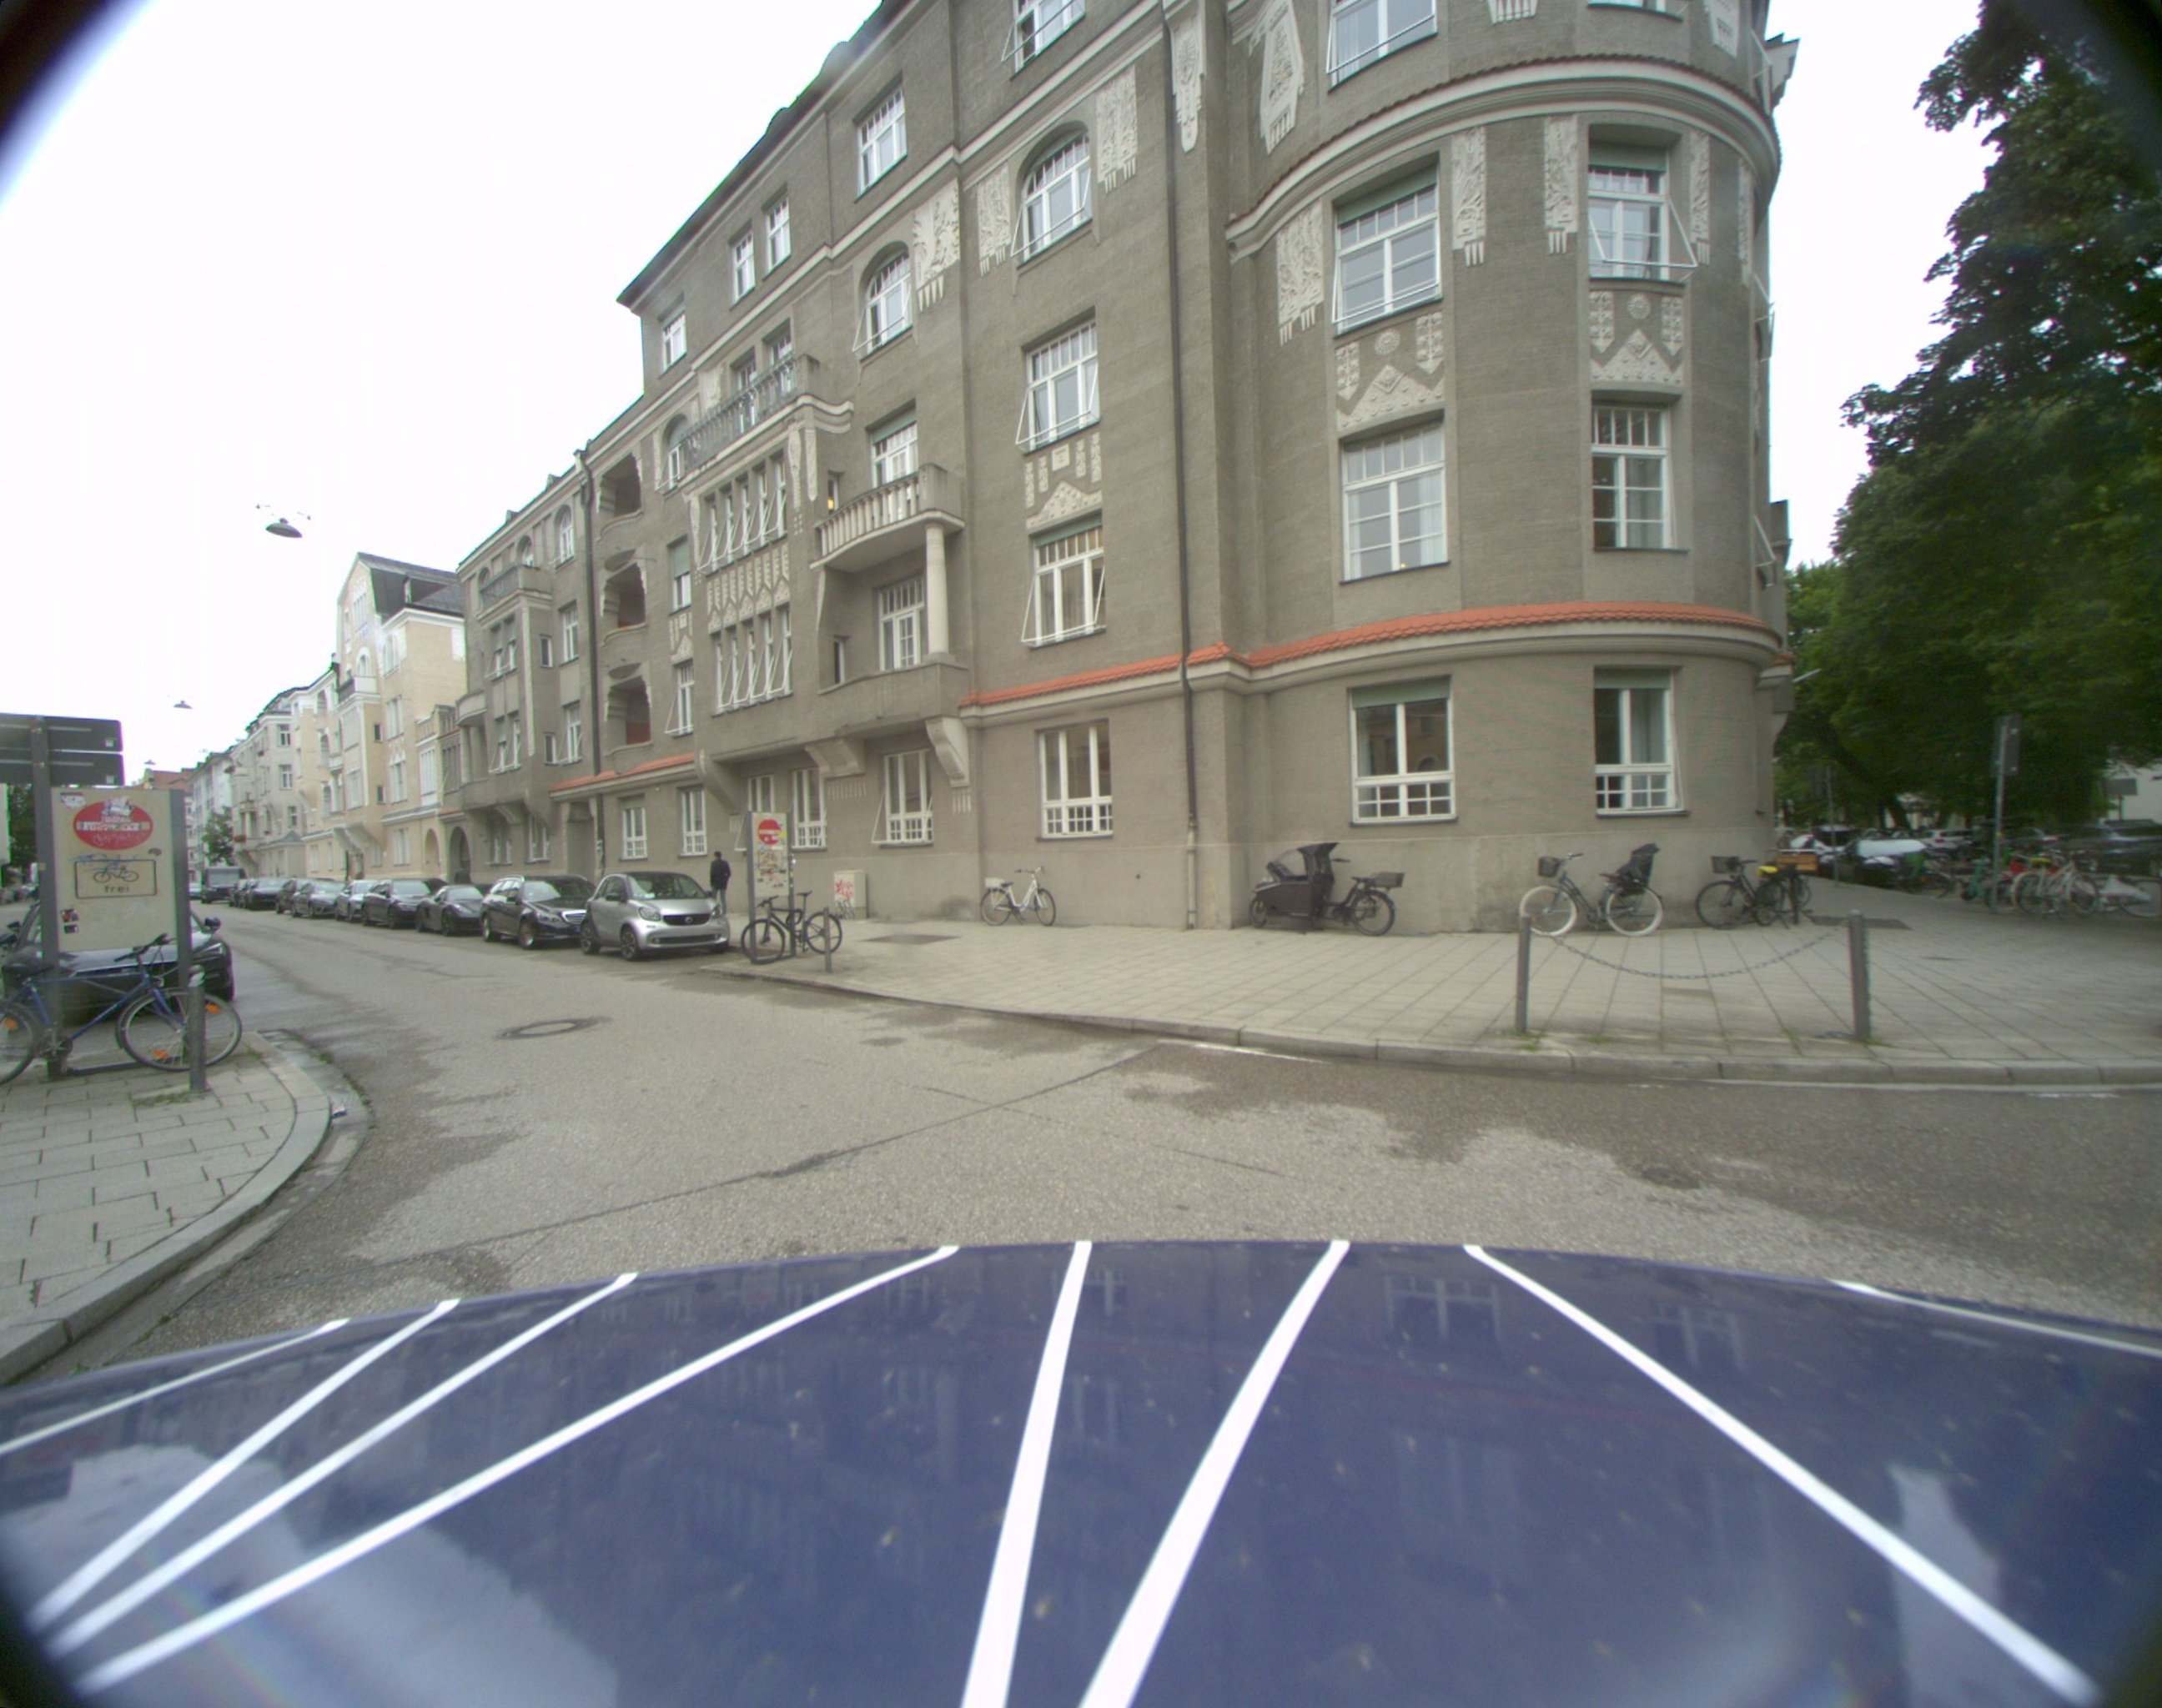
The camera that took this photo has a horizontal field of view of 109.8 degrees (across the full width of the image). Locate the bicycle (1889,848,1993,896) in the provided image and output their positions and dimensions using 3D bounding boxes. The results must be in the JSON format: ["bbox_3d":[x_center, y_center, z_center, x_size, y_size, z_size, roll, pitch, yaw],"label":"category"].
[{"bbox_3d":[21.542,0.438,19.059,0.513,1.140,1.680,-3,2,-37],"label":"bicycle"}]

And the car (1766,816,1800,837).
[{"bbox_3d":[68.711,-2.706,74.423,1.994,1.941,4.669,-1,1,37],"label":"car"}]

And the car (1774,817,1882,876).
[{"bbox_3d":[27.271,-0.318,27.930,1.994,1.941,4.669,-1,1,34],"label":"car"}]

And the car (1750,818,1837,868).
[{"bbox_3d":[30.404,-0.520,32.579,1.994,1.941,4.669,-1,1,34],"label":"car"}]

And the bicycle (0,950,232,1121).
[{"bbox_3d":[-7.753,1.350,5.641,1.799,1.079,0.665,-1,-1,-26],"label":"bicycle"}]

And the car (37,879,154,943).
[{"bbox_3d":[-30.918,1.695,23.904,4.661,1.679,2.003,-2,2,38],"label":"car"}]

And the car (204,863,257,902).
[{"bbox_3d":[-60.269,2.013,53.825,5.662,2.605,2.110,-1,0,38],"label":"car"}]

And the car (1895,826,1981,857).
[{"bbox_3d":[43.259,-0.653,38.481,1.772,1.424,4.525,-1,0,34],"label":"car"}]

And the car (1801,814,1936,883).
[{"bbox_3d":[24.471,-0.223,23.825,1.994,1.941,4.669,-1,1,34],"label":"car"}]

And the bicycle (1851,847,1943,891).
[{"bbox_3d":[22.453,0.409,20.935,0.513,1.140,1.680,-3,2,-37],"label":"bicycle"}]

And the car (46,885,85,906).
[{"bbox_3d":[-78.428,3.189,58.688,3.635,1.434,1.688,-1,2,38],"label":"car"}]

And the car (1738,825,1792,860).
[{"bbox_3d":[40.325,-0.710,44.889,1.994,1.941,4.669,-1,1,37],"label":"car"}]

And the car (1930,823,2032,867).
[{"bbox_3d":[40.363,-0.430,34.204,1.772,1.825,4.525,-1,0,34],"label":"car"}]

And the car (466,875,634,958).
[{"bbox_3d":[-11.759,1.258,16.704,4.694,1.506,1.764,-2,1,39],"label":"car"}]

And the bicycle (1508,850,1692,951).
[{"bbox_3d":[7.001,0.618,10.327,1.924,1.249,0.738,-2,1,7],"label":"bicycle"}]

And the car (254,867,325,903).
[{"bbox_3d":[-40.570,1.555,38.910,4.604,1.649,1.961,-1,2,38],"label":"car"}]

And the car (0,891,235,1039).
[{"bbox_3d":[-13.201,1.310,10.330,4.598,1.463,1.701,-1,1,35],"label":"car"}]

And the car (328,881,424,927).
[{"bbox_3d":[-24.713,1.682,26.601,4.426,1.423,1.815,-2,-1,39],"label":"car"}]

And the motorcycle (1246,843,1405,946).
[{"bbox_3d":[3.705,0.594,11.606,2.141,1.432,0.739,-1,2,36],"label":"motorcycle"}]

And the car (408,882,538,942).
[{"bbox_3d":[-16.116,1.464,20.082,4.085,1.323,1.764,-2,1,38],"label":"car"}]

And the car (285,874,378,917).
[{"bbox_3d":[-29.294,1.576,29.661,4.595,1.504,1.846,-1,1,37],"label":"car"}]

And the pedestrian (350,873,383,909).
[{"bbox_3d":[-35.955,1.868,38.254,0.937,1.719,0.998,-1,2,37],"label":"pedestrian"}]

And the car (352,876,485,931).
[{"bbox_3d":[-20.351,1.449,23.283,4.765,1.440,2.004,-1,1,36],"label":"car"}]

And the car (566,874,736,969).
[{"bbox_3d":[-7.950,1.162,14.004,2.903,1.506,1.713,-2,0,38],"label":"car"}]

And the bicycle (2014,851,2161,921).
[{"bbox_3d":[17.485,0.529,13.135,0.513,1.140,1.704,-3,2,-37],"label":"bicycle"}]

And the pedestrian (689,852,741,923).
[{"bbox_3d":[-9.587,0.862,19.897,0.933,1.777,0.843,-1,2,40],"label":"pedestrian"}]

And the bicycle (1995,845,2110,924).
[{"bbox_3d":[15.246,0.456,11.923,1.685,1.140,0.511,-3,2,-16],"label":"bicycle"}]

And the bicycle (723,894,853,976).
[{"bbox_3d":[-4.502,1.209,11.801,0.539,1.009,1.811,-1,2,36],"label":"bicycle"}]

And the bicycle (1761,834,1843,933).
[{"bbox_3d":[11.522,0.425,12.115,1.930,1.405,0.736,-3,2,-40],"label":"bicycle"}]

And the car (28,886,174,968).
[{"bbox_3d":[-21.870,1.532,16.933,3.844,1.528,1.642,-2,1,33],"label":"car"}]

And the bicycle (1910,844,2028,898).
[{"bbox_3d":[19.869,0.366,17.035,0.513,1.140,1.680,-3,2,-37],"label":"bicycle"}]

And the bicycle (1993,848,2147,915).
[{"bbox_3d":[17.932,0.482,13.826,0.467,1.140,1.680,-3,2,-37],"label":"bicycle"}]

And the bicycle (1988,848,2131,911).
[{"bbox_3d":[18.987,0.484,14.789,0.513,1.140,1.680,-3,2,-37],"label":"bicycle"}]

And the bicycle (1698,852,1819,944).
[{"bbox_3d":[9.806,0.595,10.985,1.928,1.151,0.563,-3,5,-26],"label":"bicycle"}]

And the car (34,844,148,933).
[{"bbox_3d":[-37.208,1.169,28.586,6.114,2.943,2.266,0,3,37],"label":"car"}]

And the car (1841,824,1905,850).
[{"bbox_3d":[48.534,-1.037,46.670,1.772,1.424,4.525,-1,0,34],"label":"car"}]

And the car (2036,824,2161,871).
[{"bbox_3d":[34.202,-0.245,25.254,1.772,1.424,4.525,-1,0,34],"label":"car"}]

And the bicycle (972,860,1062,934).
[{"bbox_3d":[-1.258,0.818,14.777,1.670,1.342,0.621,-1,2,33],"label":"bicycle"}]

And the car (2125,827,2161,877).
[{"bbox_3d":[31.548,-0.066,20.963,1.772,1.424,4.525,-1,0,34],"label":"car"}]

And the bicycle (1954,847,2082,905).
[{"bbox_3d":[19.727,0.453,16.028,0.513,1.140,1.680,-3,2,-37],"label":"bicycle"}]

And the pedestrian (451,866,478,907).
[{"bbox_3d":[-27.919,1.468,34.405,0.728,1.807,0.720,-1,2,37],"label":"pedestrian"}]

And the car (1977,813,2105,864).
[{"bbox_3d":[37.219,-0.590,29.612,1.772,1.808,4.525,-1,1,34],"label":"car"}]

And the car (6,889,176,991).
[{"bbox_3d":[-17.816,1.432,13.648,3.844,1.463,1.642,-1,1,35],"label":"car"}]

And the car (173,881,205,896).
[{"bbox_3d":[-88.418,3.403,75.283,3.695,1.390,1.687,-1,1,36],"label":"car"}]

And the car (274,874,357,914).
[{"bbox_3d":[-33.966,1.743,33.680,3.803,1.563,1.812,-2,1,34],"label":"car"}]

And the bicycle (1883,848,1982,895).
[{"bbox_3d":[22.042,0.446,19.698,0.513,1.140,1.680,-3,2,-37],"label":"bicycle"}]
